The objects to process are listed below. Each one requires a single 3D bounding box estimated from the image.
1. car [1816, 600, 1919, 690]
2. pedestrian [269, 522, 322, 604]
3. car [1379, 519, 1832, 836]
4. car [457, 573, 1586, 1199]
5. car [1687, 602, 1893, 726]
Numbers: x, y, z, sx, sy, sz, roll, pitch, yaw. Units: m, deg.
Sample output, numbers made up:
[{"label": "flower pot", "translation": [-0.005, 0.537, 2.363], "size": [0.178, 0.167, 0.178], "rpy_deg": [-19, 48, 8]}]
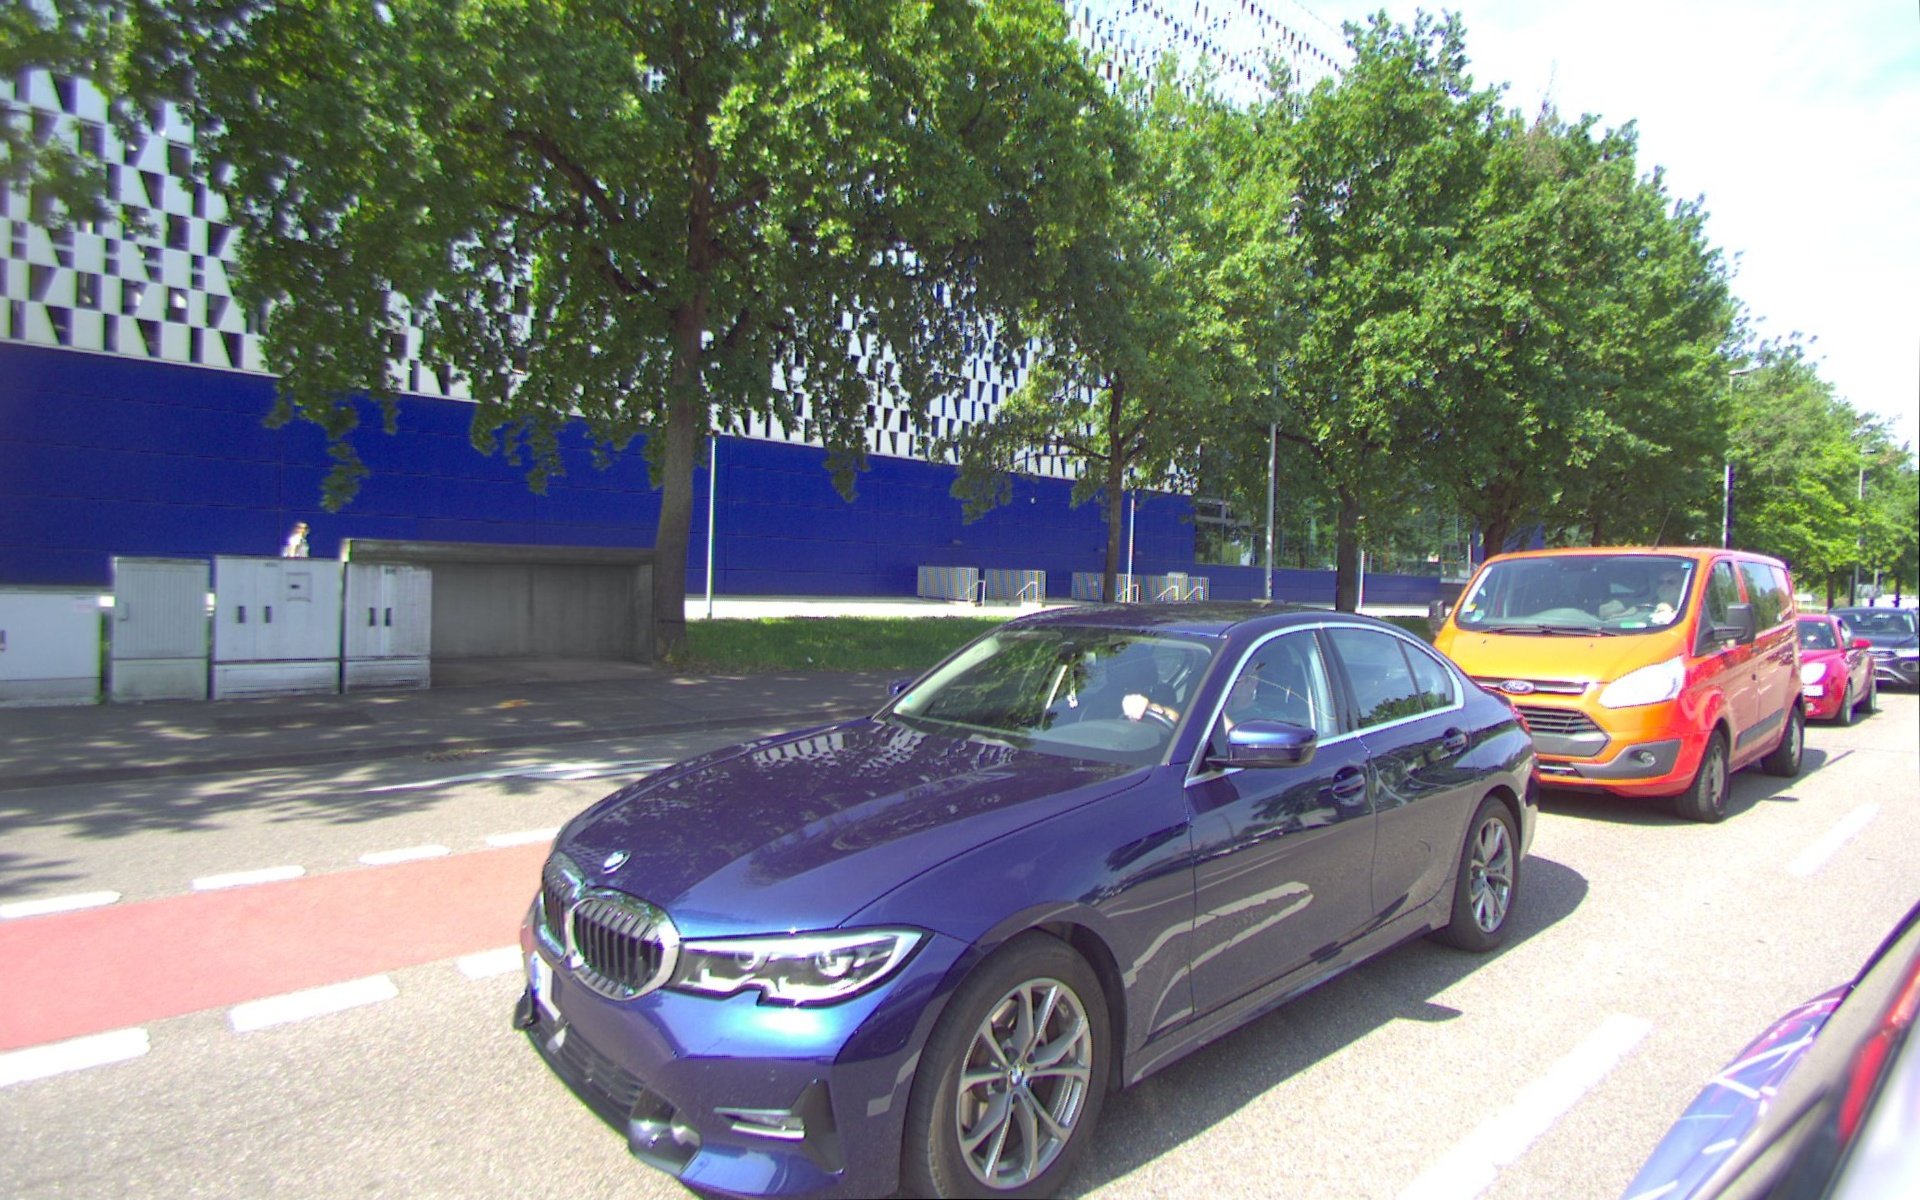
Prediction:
[{"label": "car", "translation": [17.622, 0.788, 19.180], "size": [3.932, 1.559, 1.647], "rpy_deg": [0, -1, -43]}, {"label": "pedestrian", "translation": [-13.036, -0.724, 19.863], "size": [0.767, 1.565, 0.680], "rpy_deg": [1, 2, -41]}, {"label": "car", "translation": [5.612, 0.468, 8.507], "size": [4.726, 1.931, 2.012], "rpy_deg": [0, 0, -42]}, {"label": "car", "translation": [0.692, 0.670, 3.965], "size": [4.459, 1.447, 1.798], "rpy_deg": [0, 1, -42]}, {"label": "car", "translation": [11.580, 0.779, 14.033], "size": [3.849, 1.440, 1.690], "rpy_deg": [0, 1, -43]}]
